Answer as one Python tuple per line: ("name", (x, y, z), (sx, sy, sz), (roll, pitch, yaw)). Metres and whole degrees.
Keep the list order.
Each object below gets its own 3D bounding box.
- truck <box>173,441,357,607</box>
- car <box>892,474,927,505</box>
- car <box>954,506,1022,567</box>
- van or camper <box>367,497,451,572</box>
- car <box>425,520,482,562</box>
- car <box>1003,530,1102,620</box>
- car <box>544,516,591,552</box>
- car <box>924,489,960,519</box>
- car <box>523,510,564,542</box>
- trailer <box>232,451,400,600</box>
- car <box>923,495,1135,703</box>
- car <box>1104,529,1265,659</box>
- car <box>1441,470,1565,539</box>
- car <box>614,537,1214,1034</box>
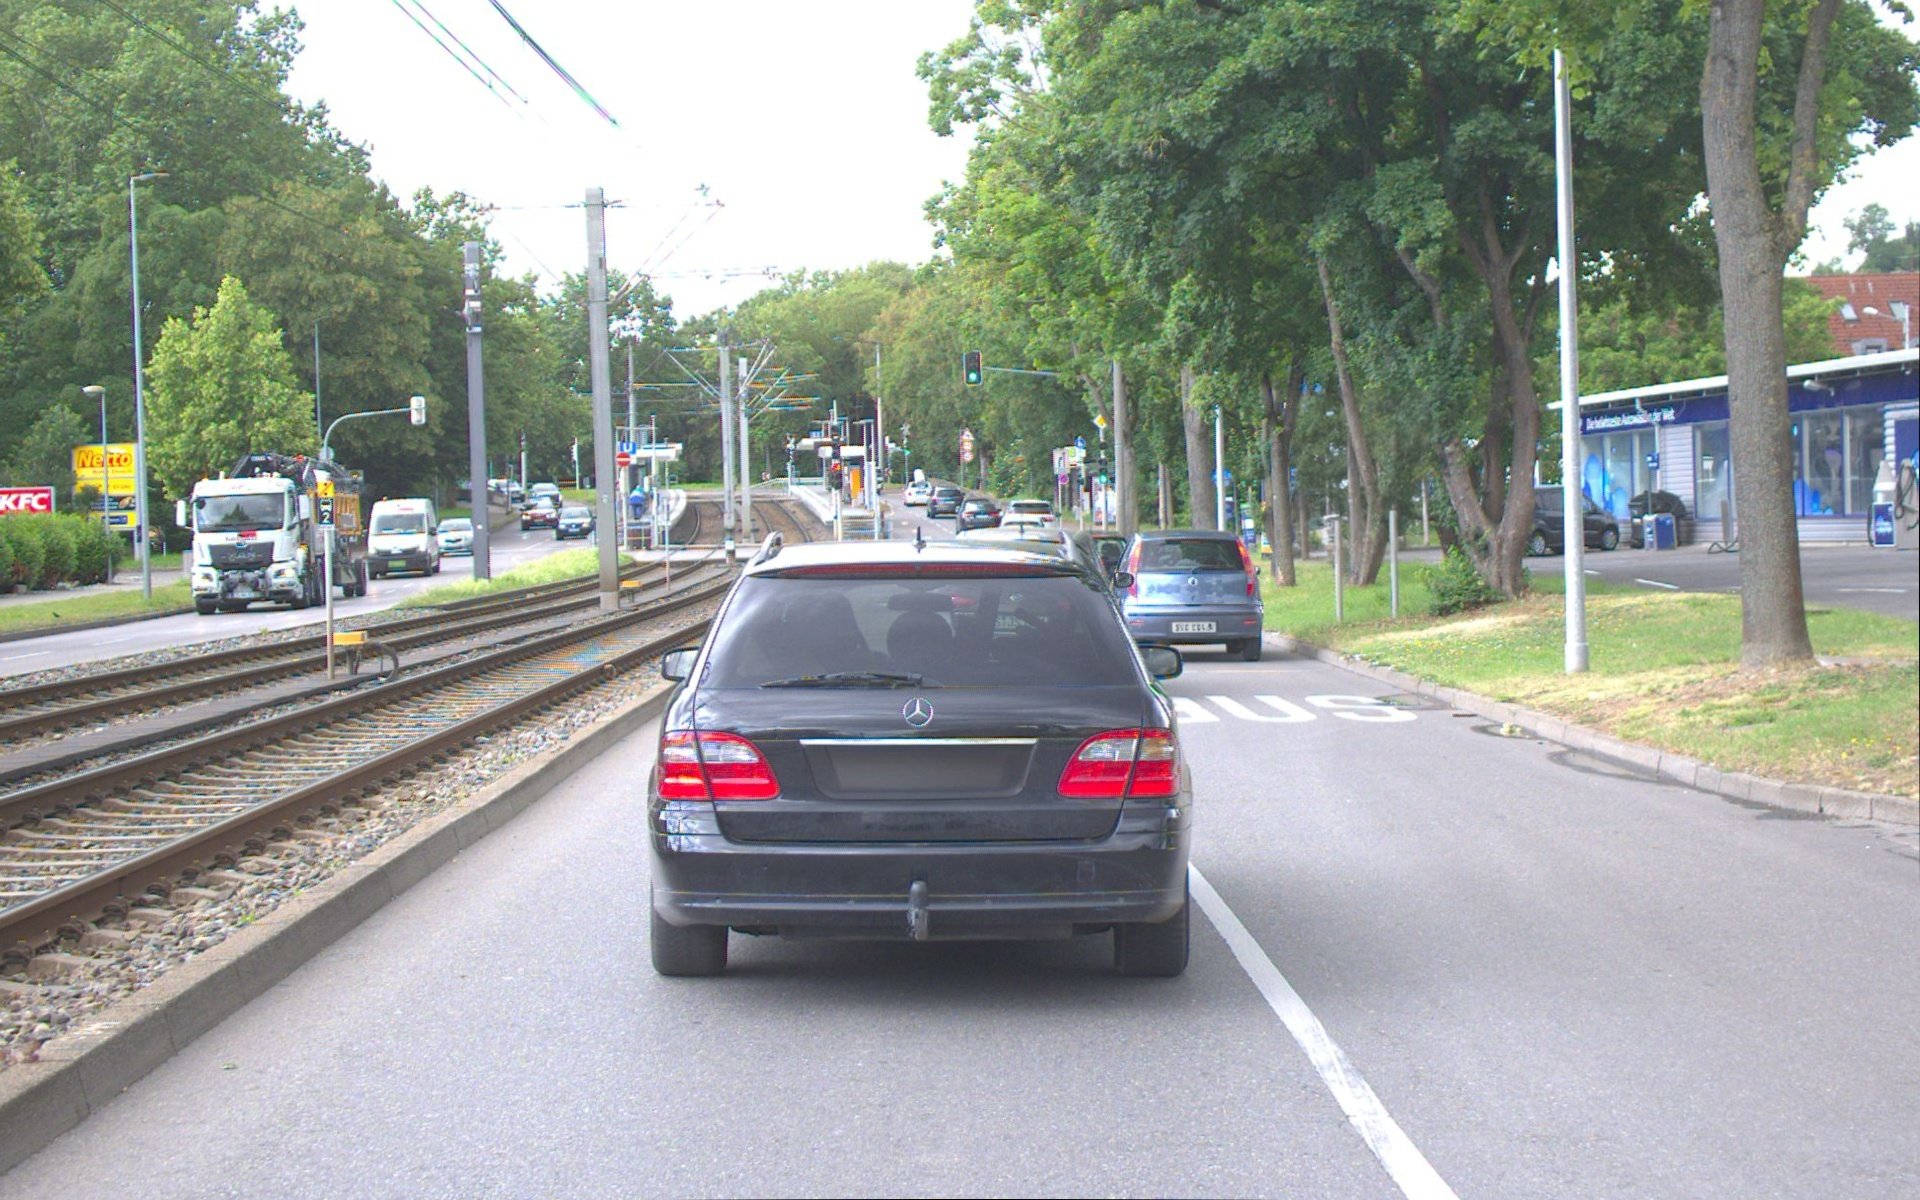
("truck", (-16.605, -1.844, 82.906), (2.706, 3.651, 11.114), (-2, 1, -3))
("car", (-2.993, -6.509, 202.629), (1.993, 1.708, 4.000), (-1, 2, -1))
("car", (0.844, -1.944, 105.175), (1.993, 1.831, 4.000), (0, 1, -1))
("van or camper", (-18.174, -2.189, 113.610), (1.993, 2.346, 5.767), (-2, 1, -2))
("car", (-20.344, -2.372, 138.316), (1.765, 1.641, 3.771), (0, 1, 0))
("car", (1.475, -0.422, 55.894), (1.466, 1.410, 3.354), (1, 1, -1))
("car", (-18.070, -3.027, 158.491), (1.765, 1.641, 3.771), (0, 1, 0))
("car", (-0.964, -5.012, 180.065), (1.666, 1.527, 3.771), (0, 1, -4))
("car", (-22.227, -3.952, 183.608), (1.765, 1.641, 3.771), (0, 1, 0))
("trailer", (-17.200, -2.023, 92.698), (2.704, 3.648, 13.301), (-2, 1, -4))
("car", (0.569, -0.041, 31.037), (1.780, 1.744, 3.718), (1, 1, -1))
("car", (2.536, -0.096, 39.428), (1.571, 1.410, 3.354), (1, 1, -1))
("car", (14.081, -2.493, 88.921), (2.008, 1.676, 4.574), (-1, 2, 24))
("car", (-0.156, 0.525, 12.317), (1.808, 1.469, 3.881), (0, 1, -1))
